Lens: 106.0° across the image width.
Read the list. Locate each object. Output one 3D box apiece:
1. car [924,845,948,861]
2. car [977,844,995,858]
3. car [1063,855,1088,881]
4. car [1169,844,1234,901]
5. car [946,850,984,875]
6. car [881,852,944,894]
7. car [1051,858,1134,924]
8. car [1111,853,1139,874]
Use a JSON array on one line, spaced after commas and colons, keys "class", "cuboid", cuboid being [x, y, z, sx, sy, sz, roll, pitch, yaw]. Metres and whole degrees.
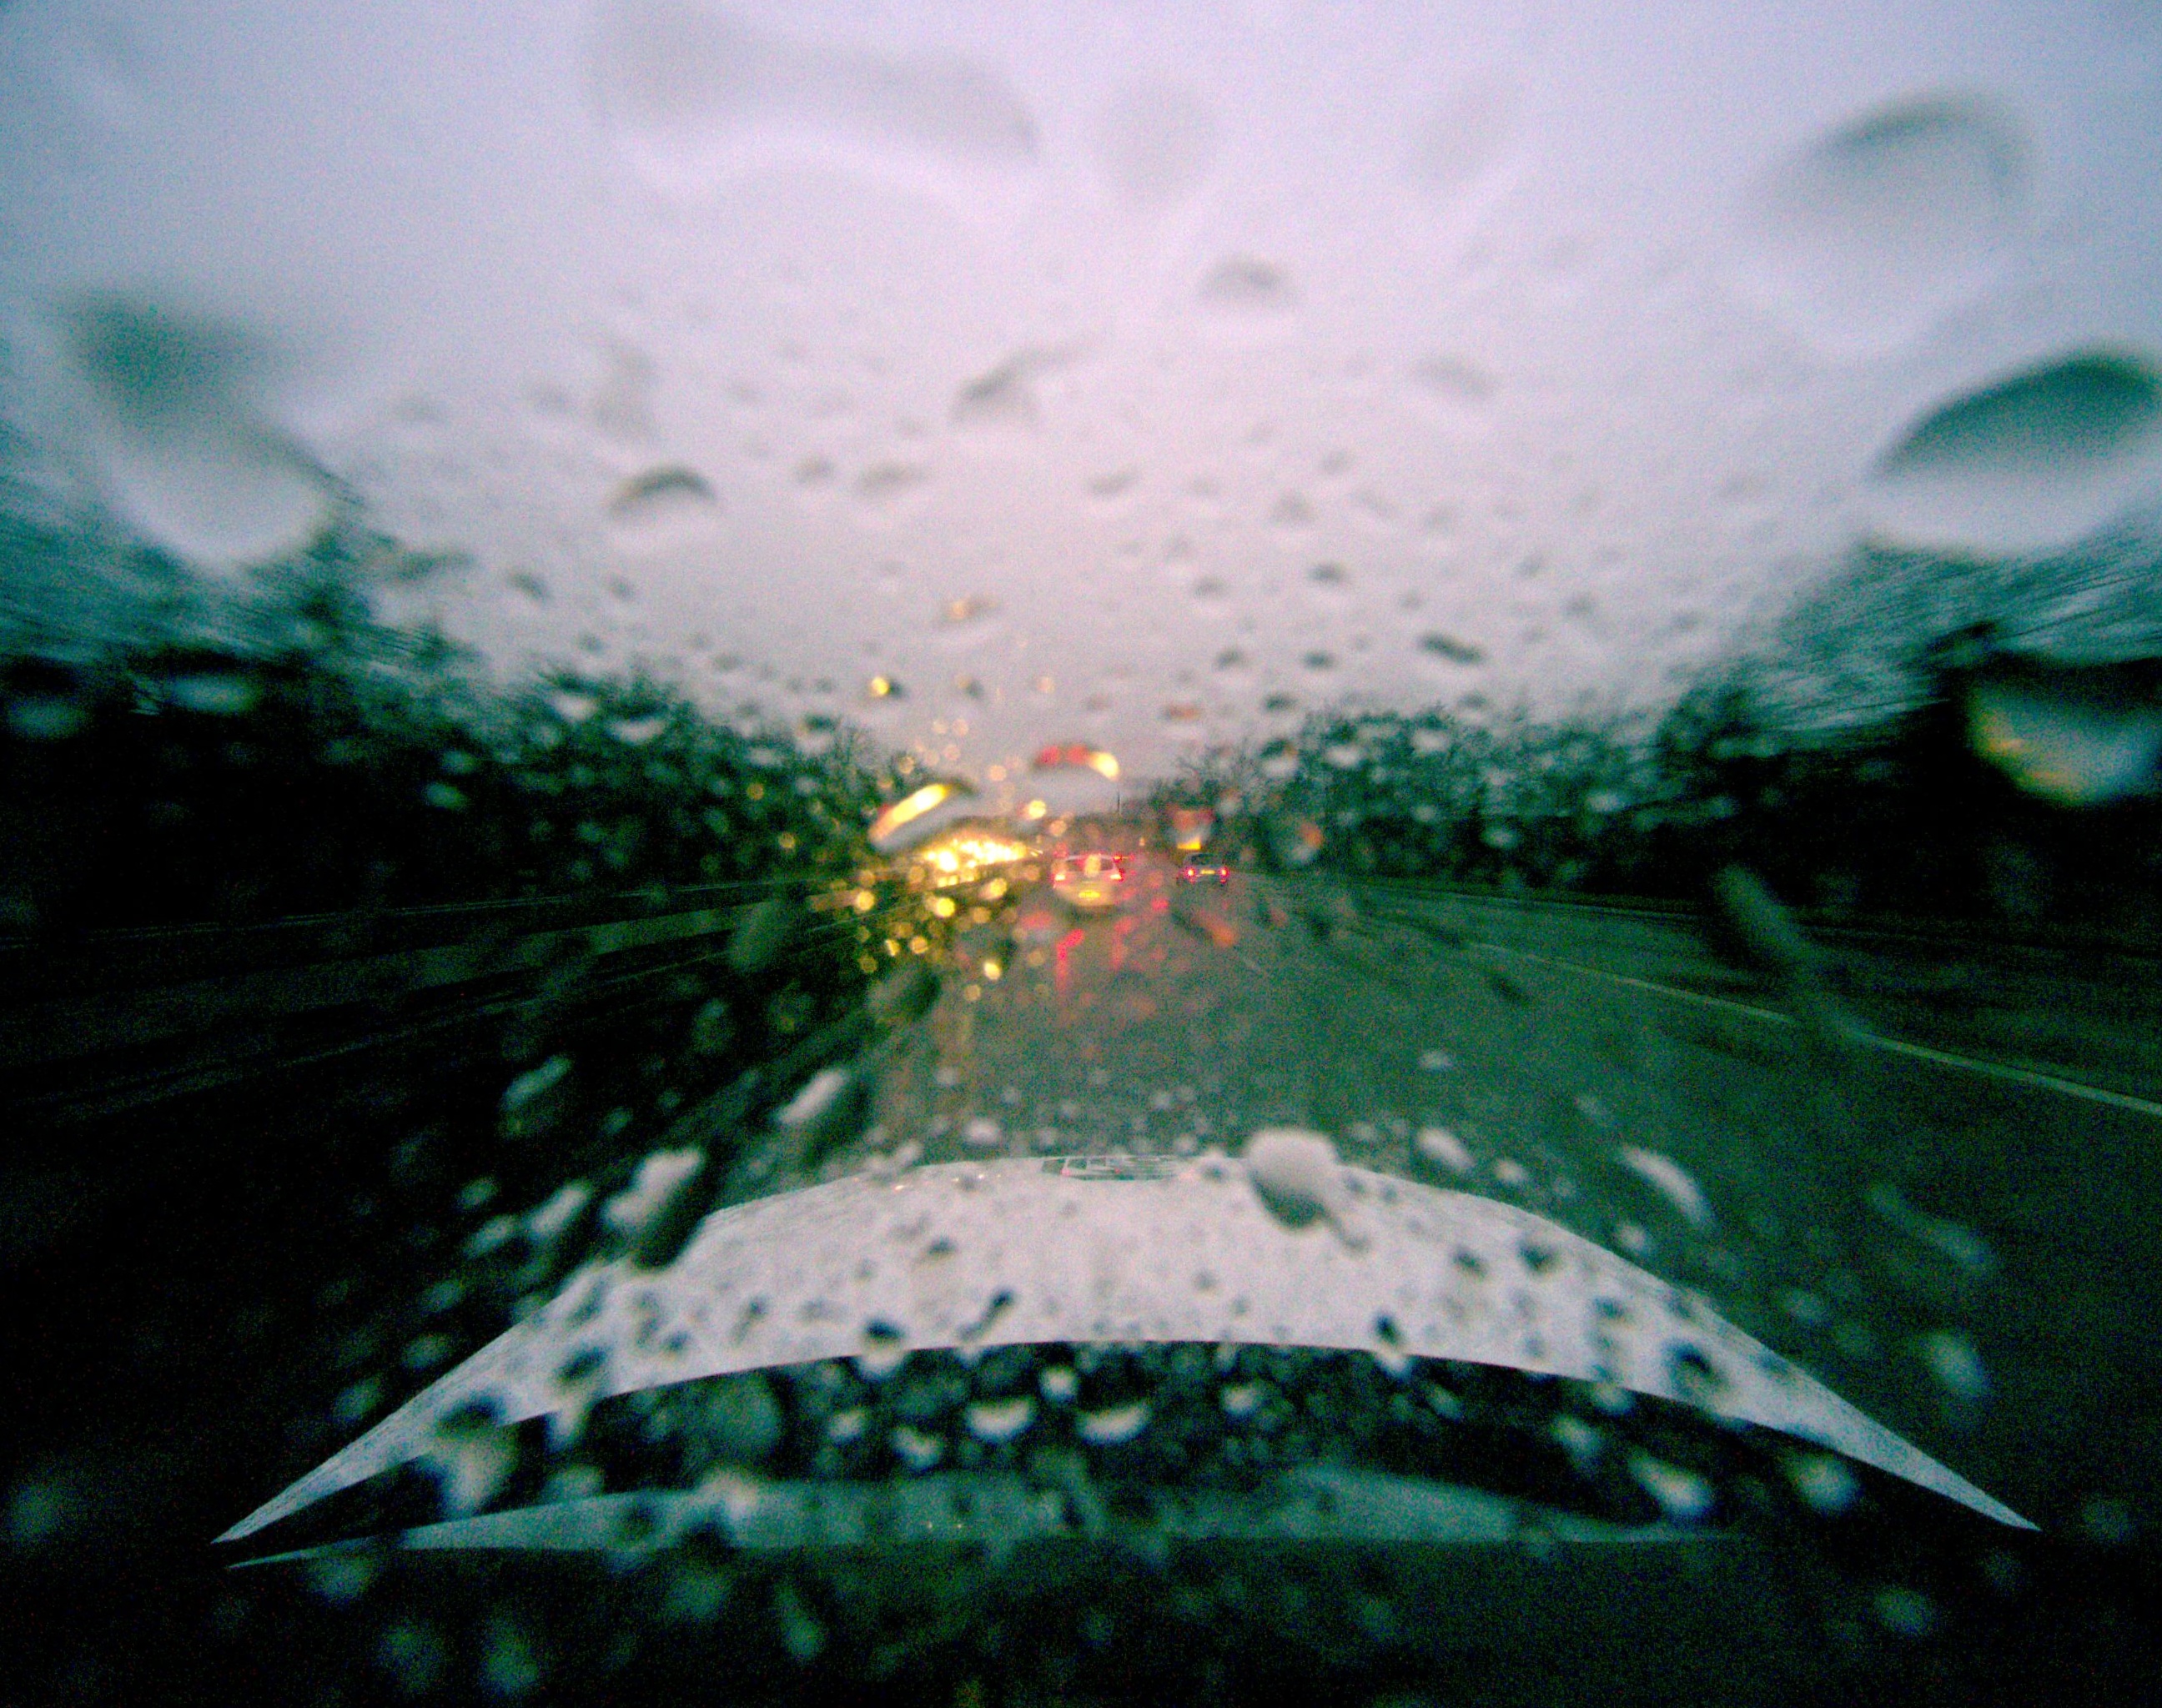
[{"class": "car", "cuboid": [-16.459, -0.121, 92.837, 1.874, 1.832, 4.785, 1, 0, -1]}, {"class": "car", "cuboid": [-12.339, -0.359, 106.165, 1.877, 1.832, 4.785, 1, 0, -1]}, {"class": "car", "cuboid": [-0.431, 1.115, 66.793, 1.987, 2.014, 3.999, 1, 0, -1]}, {"class": "car", "cuboid": [4.562, 0.671, 31.222, 1.926, 2.019, 3.773, 1, 0, 0]}, {"class": "car", "cuboid": [-7.212, 0.510, 50.913, 1.777, 1.510, 4.134, 1, 0, 0]}, {"class": "car", "cuboid": [-6.498, 0.707, 31.729, 1.648, 1.519, 3.505, 1, 0, 1]}, {"class": "car", "cuboid": [0.377, 0.903, 21.797, 2.017, 1.575, 4.003, 1, 0, 2]}, {"class": "car", "cuboid": [3.822, 0.862, 71.513, 1.928, 1.546, 3.769, -5, -1, -3]}]
